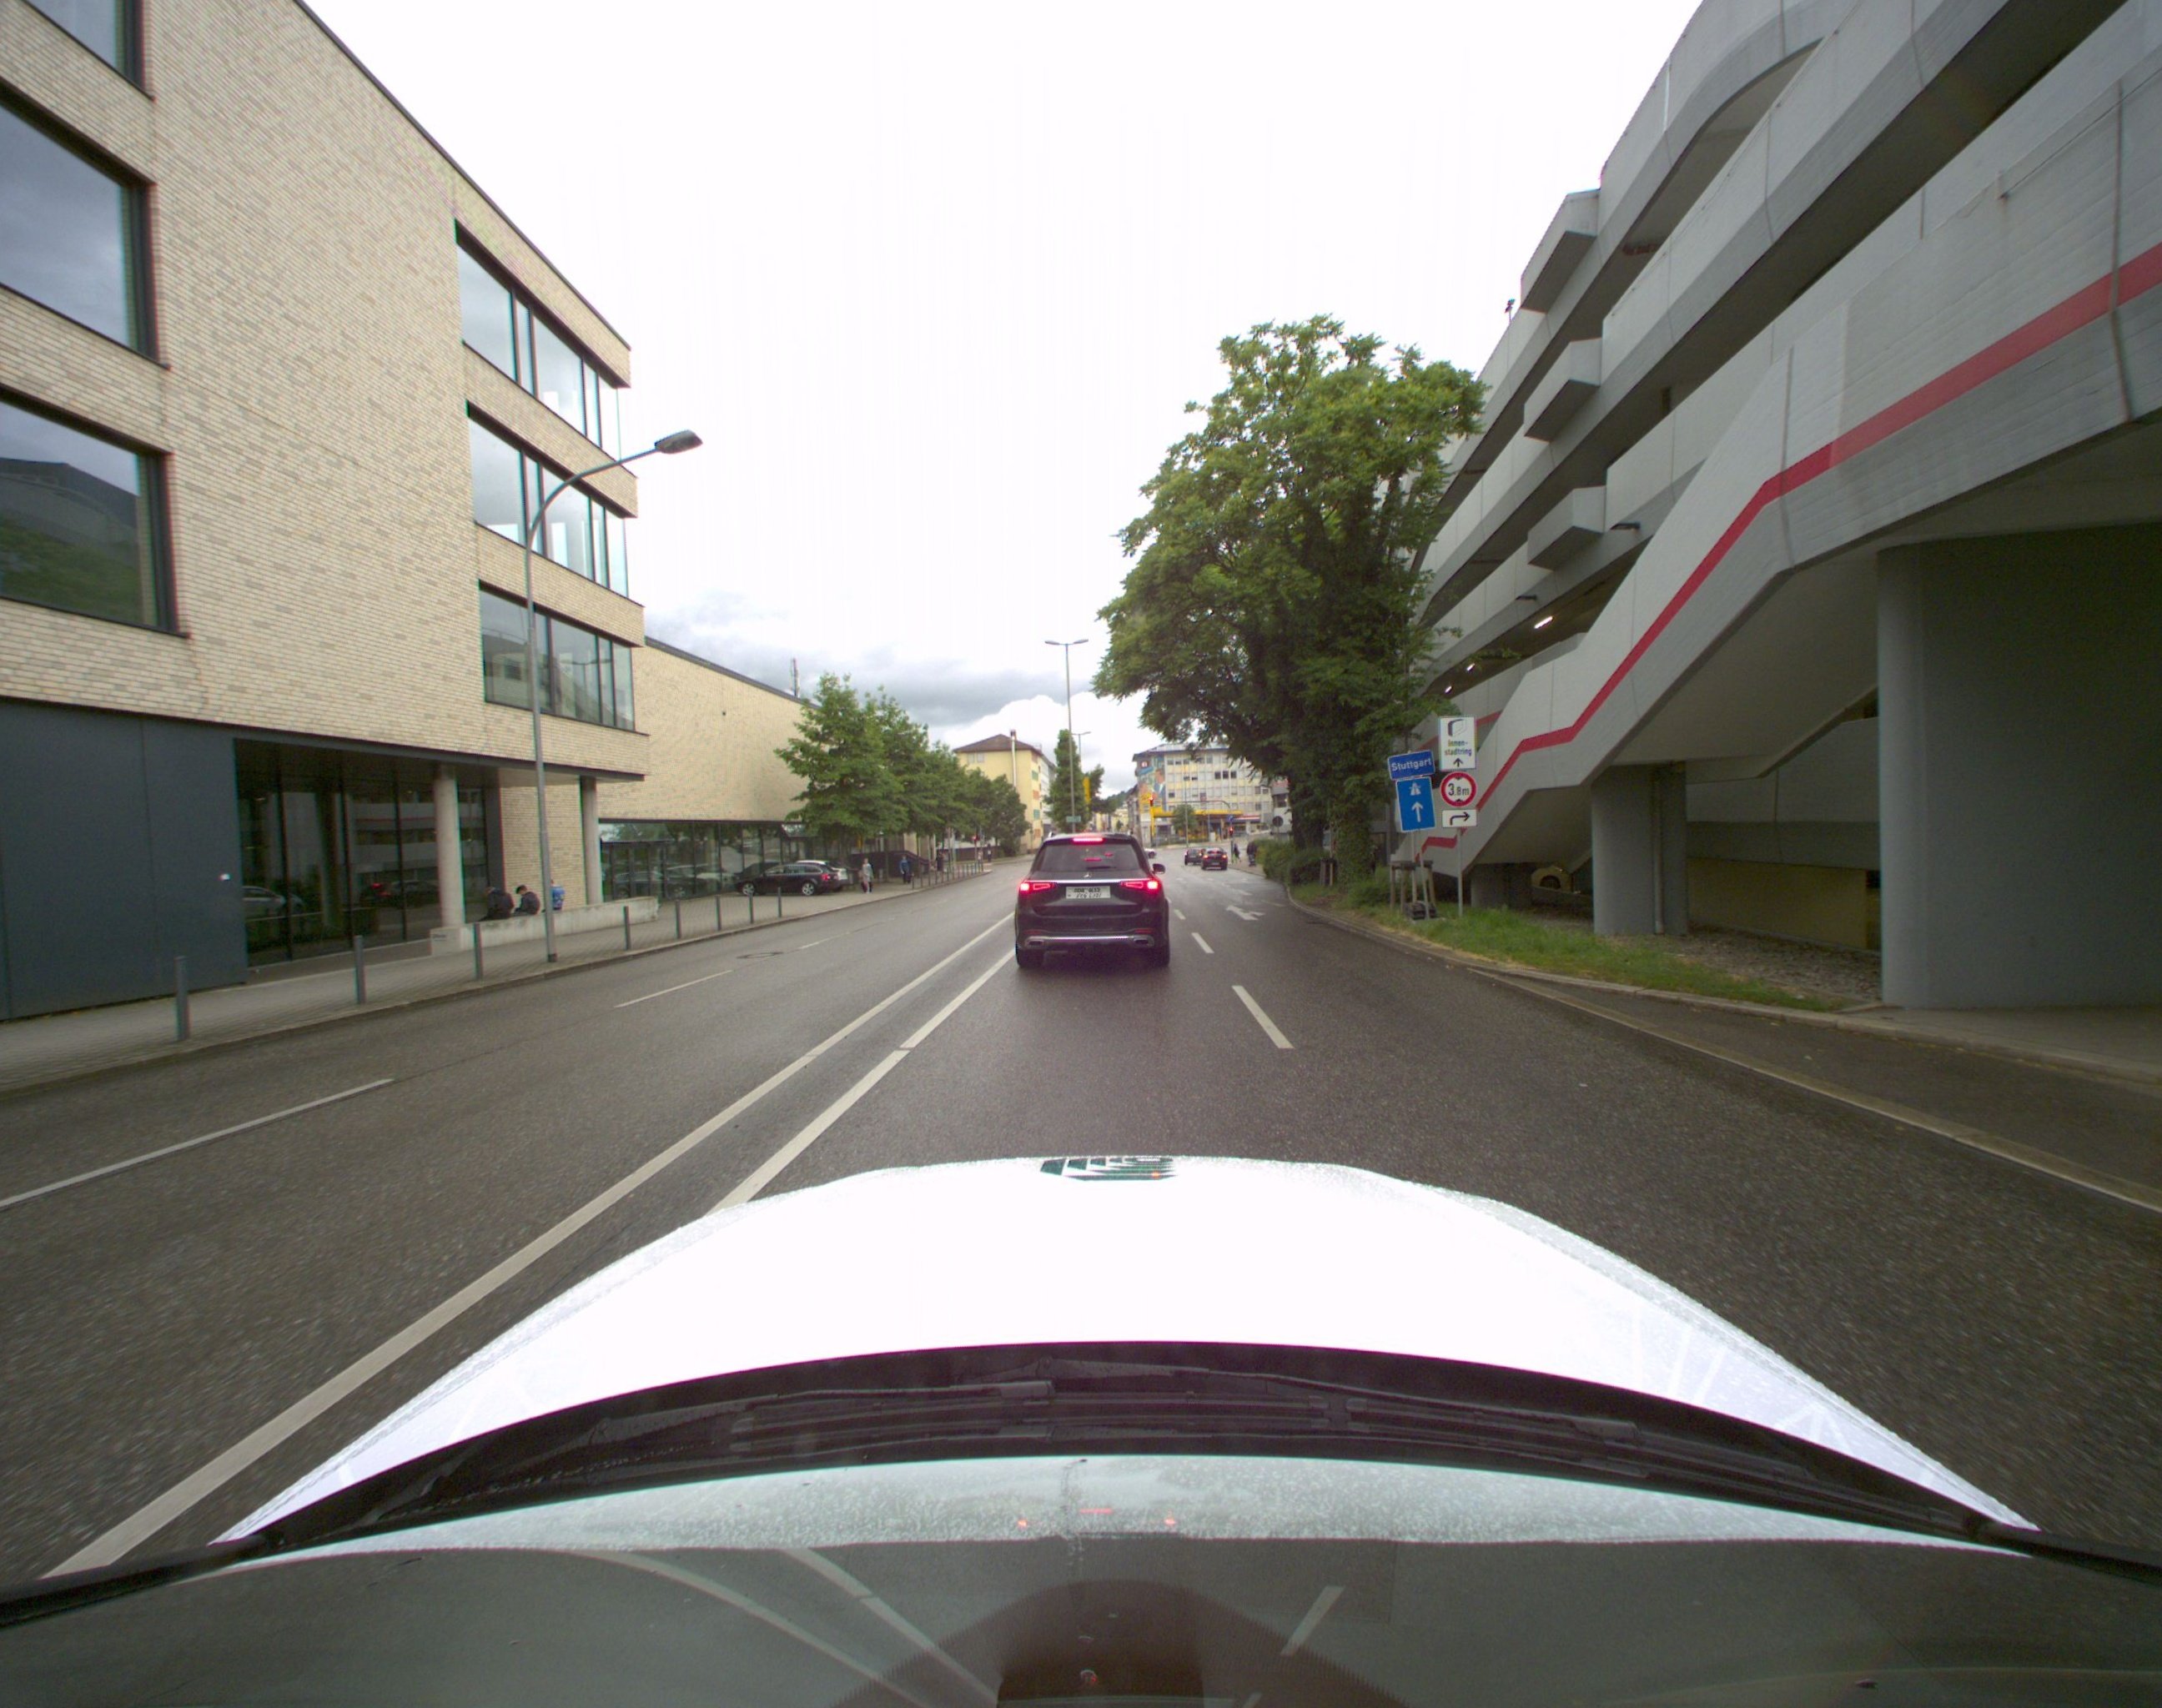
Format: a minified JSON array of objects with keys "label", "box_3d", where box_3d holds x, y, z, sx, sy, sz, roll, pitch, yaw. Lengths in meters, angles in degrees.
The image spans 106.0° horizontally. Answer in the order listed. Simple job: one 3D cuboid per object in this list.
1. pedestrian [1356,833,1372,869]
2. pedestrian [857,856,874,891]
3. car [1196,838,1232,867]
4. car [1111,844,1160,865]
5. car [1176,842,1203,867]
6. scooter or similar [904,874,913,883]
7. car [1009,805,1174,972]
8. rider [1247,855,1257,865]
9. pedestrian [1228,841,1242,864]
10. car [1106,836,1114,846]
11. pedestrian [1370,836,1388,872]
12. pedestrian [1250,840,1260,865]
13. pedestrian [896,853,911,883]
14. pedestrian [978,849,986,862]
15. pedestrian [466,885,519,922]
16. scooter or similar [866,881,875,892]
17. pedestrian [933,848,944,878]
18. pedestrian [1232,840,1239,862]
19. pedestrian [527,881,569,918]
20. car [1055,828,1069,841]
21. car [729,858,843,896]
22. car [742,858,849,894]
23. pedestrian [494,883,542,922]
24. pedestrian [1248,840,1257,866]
[{"label":"pedestrian","box_3d":[11.979,-0.129,34.496,0.548,1.532,0.489,0,-1,9]},{"label":"pedestrian","box_3d":[-10.293,0.926,38.942,0.673,1.697,0.479,0,-1,2]},{"label":"car","box_3d":[9.509,-0.114,58.686,1.986,2.013,4.001,-1,0,1]},{"label":"car","box_3d":[5.656,0.072,85.126,4.797,2.013,1.997,-2,1,-5]},{"label":"car","box_3d":[9.336,0.054,70.361,1.985,2.014,4.003,0,-1,3]},{"label":"scooter or similar","box_3d":[-10.175,1.452,48.037,0.358,0.536,0.499,0,-1,2]},{"label":"car","box_3d":[0.178,0.433,11.844,1.986,2.014,4.001,0,-1,1]},{"label":"rider","box_3d":[12.485,0.457,59.421,0.689,0.740,0.634,0,-1,10]},{"label":"pedestrian","box_3d":[13.385,-0.159,70.947,1.021,2.013,0.999,0,0,1]},{"label":"car","box_3d":[7.201,-3.257,202.259,1.986,2.011,4.007,0,11,1]},{"label":"pedestrian","box_3d":[12.547,-0.005,34.289,0.579,1.501,0.505,0,-1,7]},{"label":"pedestrian","box_3d":[13.512,-0.145,63.329,0.617,1.935,0.610,0,-1,2]},{"label":"pedestrian","box_3d":[-10.518,0.839,48.175,0.686,1.726,0.754,0,-3,1]},{"label":"pedestrian","box_3d":[-10.909,0.133,89.853,0.708,1.462,0.598,0,-1,1]},{"label":"pedestrian","box_3d":[-13.065,1.097,18.086,0.595,0.786,0.761,0,-1,3]},{"label":"scooter or similar","box_3d":[-10.171,1.585,39.348,0.279,0.501,0.616,0,-1,2]},{"label":"pedestrian","box_3d":[-9.698,0.591,55.456,0.586,2.014,0.749,0,-1,1]},{"label":"pedestrian","box_3d":[13.459,-0.221,70.806,0.517,1.911,0.556,0,-1,3]},{"label":"pedestrian","box_3d":[-13.182,1.119,20.156,0.679,0.886,0.524,0,-1,-1]},{"label":"car","box_3d":[-2.973,-3.088,127.206,1.986,1.875,5.143,0,0,1]},{"label":"car","box_3d":[-13.410,1.031,37.289,4.459,1.587,1.997,-1,0,-4]},{"label":"car","box_3d":[-13.626,1.036,39.047,4.406,1.573,1.998,-1,2,-3]},{"label":"pedestrian","box_3d":[-13.046,1.119,18.884,0.584,0.845,0.728,-1,-1,3]},{"label":"pedestrian","box_3d":[12.645,-0.097,60.137,0.658,1.917,0.731,0,-1,11]}]
